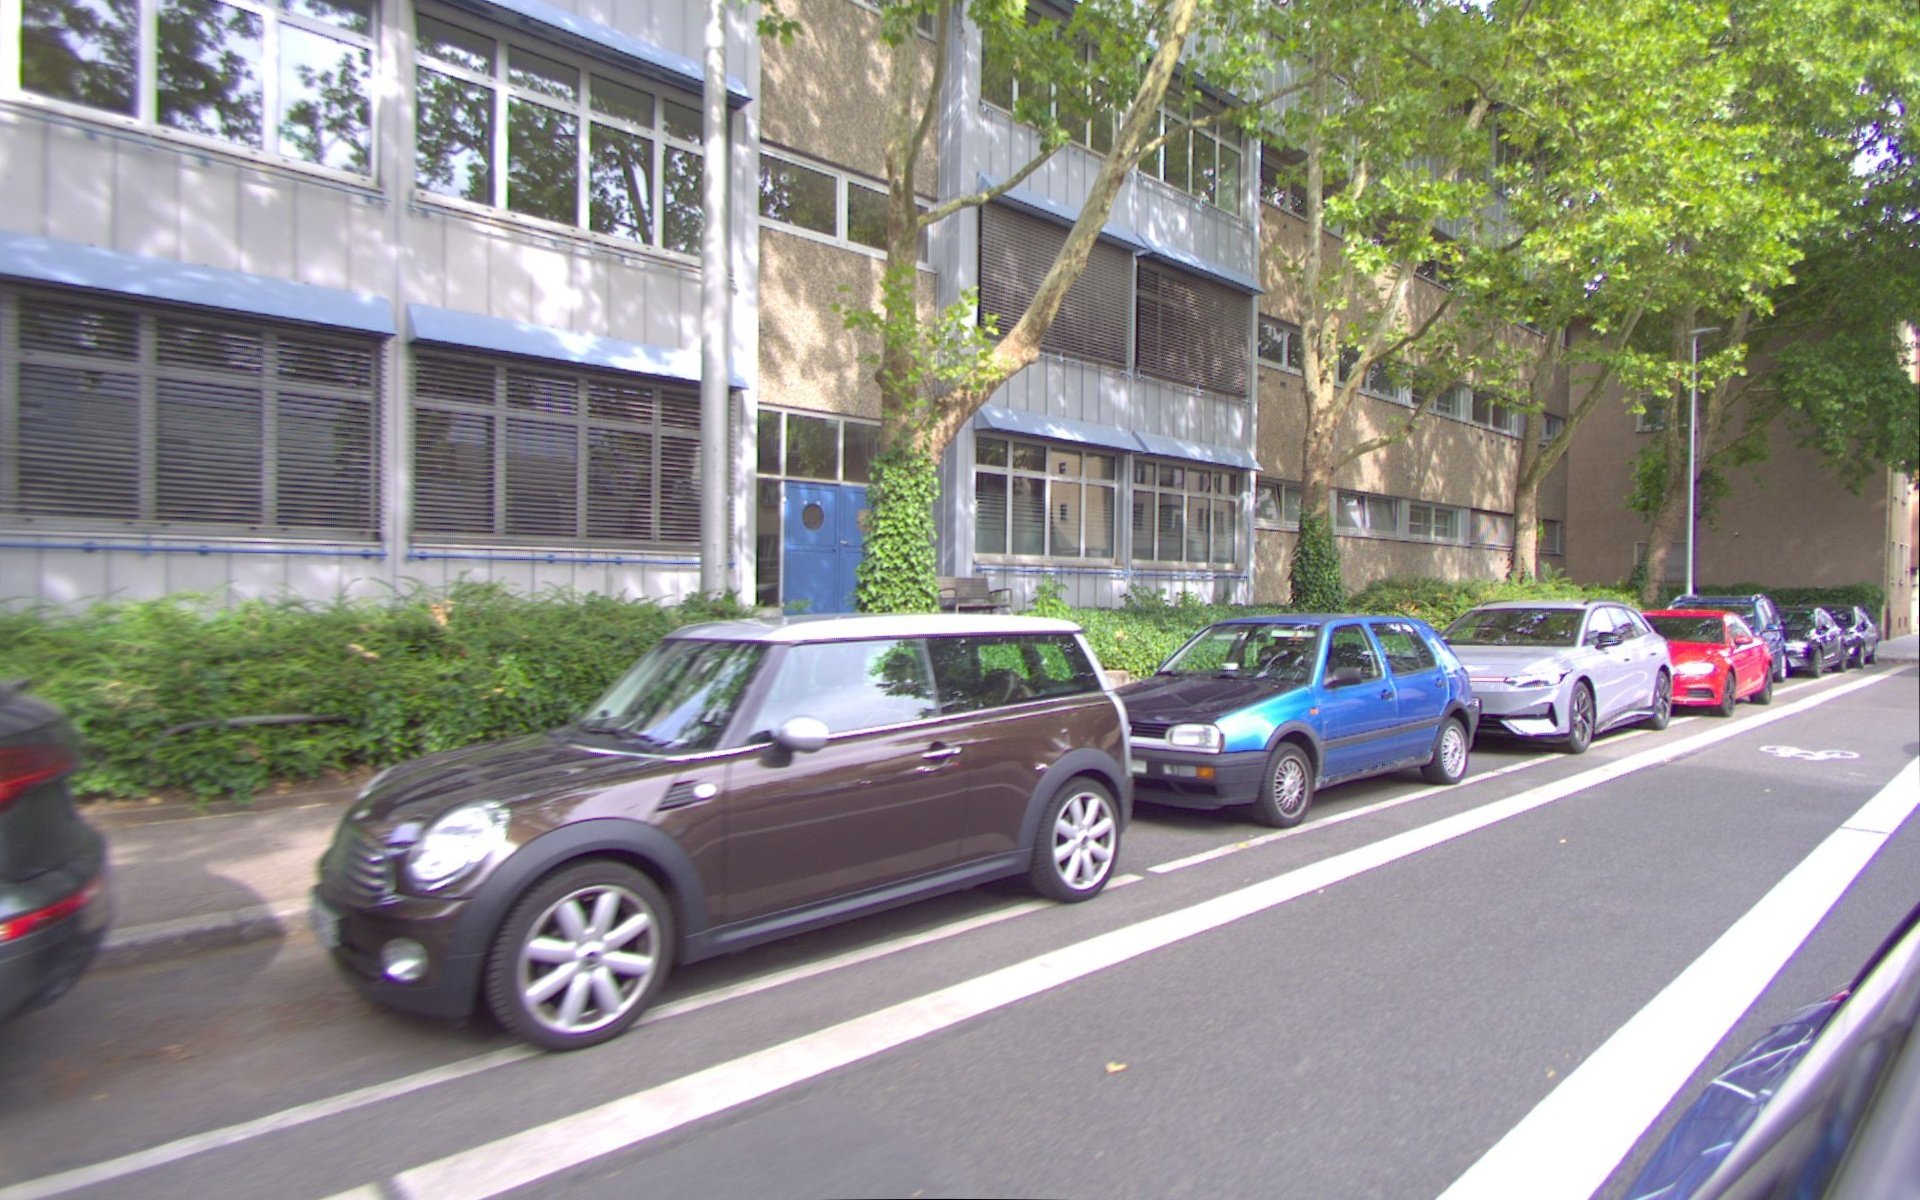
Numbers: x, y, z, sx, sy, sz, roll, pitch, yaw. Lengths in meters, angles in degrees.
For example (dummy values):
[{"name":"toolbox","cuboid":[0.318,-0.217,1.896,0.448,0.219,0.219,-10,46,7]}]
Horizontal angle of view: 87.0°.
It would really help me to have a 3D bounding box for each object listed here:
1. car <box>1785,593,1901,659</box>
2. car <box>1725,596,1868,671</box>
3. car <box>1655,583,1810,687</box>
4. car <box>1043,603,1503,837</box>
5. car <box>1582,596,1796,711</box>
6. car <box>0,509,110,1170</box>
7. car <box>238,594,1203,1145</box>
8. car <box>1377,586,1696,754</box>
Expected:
[{"name":"car","cuboid":[21.655,0.606,24.775,3.799,1.440,1.660,1,1,-42]},{"name":"car","cuboid":[17.835,0.651,21.530,3.876,1.440,1.661,0,1,-40]},{"name":"car","cuboid":[14.136,0.558,18.425,4.347,1.671,1.658,0,0,-45]},{"name":"car","cuboid":[2.640,0.750,8.075,3.929,1.404,1.625,0,-1,-40]},{"name":"car","cuboid":[10.761,0.663,14.816,4.385,1.411,1.678,0,1,-42]},{"name":"car","cuboid":[-4.447,0.620,1.802,4.428,1.661,1.669,0,-1,-43]},{"name":"car","cuboid":[-0.755,0.731,4.831,4.244,1.488,1.632,0,1,-42]},{"name":"car","cuboid":[6.732,0.657,11.558,4.788,1.536,1.729,0,-2,-42]}]
